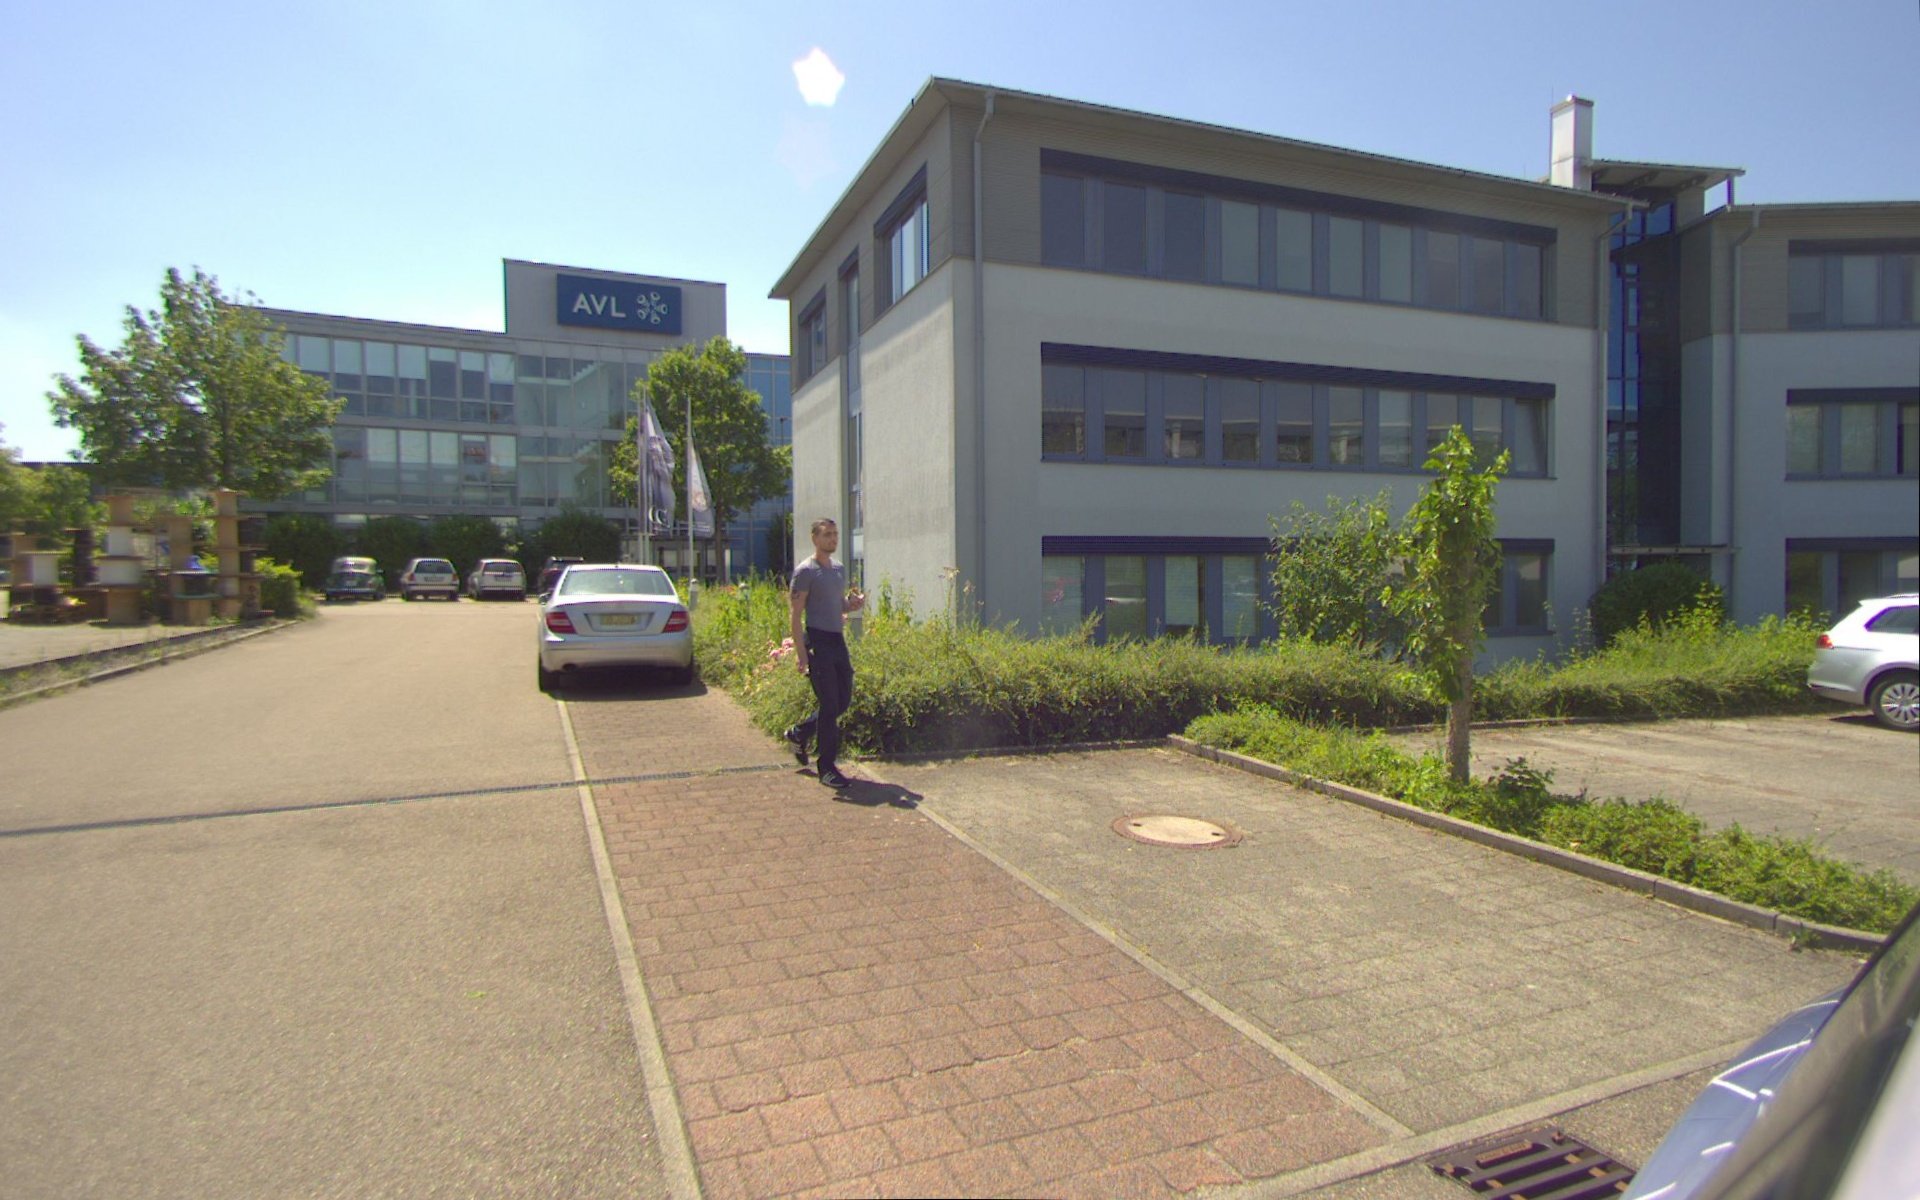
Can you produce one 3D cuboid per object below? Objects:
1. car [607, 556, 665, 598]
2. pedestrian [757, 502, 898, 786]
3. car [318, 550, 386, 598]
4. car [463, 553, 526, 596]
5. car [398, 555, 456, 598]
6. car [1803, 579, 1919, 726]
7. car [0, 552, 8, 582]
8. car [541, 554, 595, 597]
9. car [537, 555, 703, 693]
[{"bbox_3d":[-12.640,-0.892,39.373,1.713,1.538,4.008,0,1,-24],"label":"car"},{"bbox_3d":[-0.904,0.267,6.855,0.608,1.779,0.787,0,1,-42],"label":"pedestrian"},{"bbox_3d":[-20.993,-0.894,35.082,1.714,1.538,4.006,0,1,-27],"label":"car"},{"bbox_3d":[-17.336,-0.937,37.634,1.715,1.538,4.004,0,1,-31],"label":"car"},{"bbox_3d":[-19.107,-0.824,36.220,1.641,1.458,4.004,0,1,-31],"label":"car"},{"bbox_3d":[11.325,0.598,9.785,1.791,1.515,4.530,0,2,-25],"label":"car"},{"bbox_3d":[-46.929,-1.543,46.737,3.982,1.433,1.753,0,0,-11],"label":"car"},{"bbox_3d":[-14.873,-0.924,38.335,1.713,1.538,4.008,0,1,-24],"label":"car"},{"bbox_3d":[-4.386,0.209,12.717,1.694,1.454,3.724,0,1,-23],"label":"car"}]
